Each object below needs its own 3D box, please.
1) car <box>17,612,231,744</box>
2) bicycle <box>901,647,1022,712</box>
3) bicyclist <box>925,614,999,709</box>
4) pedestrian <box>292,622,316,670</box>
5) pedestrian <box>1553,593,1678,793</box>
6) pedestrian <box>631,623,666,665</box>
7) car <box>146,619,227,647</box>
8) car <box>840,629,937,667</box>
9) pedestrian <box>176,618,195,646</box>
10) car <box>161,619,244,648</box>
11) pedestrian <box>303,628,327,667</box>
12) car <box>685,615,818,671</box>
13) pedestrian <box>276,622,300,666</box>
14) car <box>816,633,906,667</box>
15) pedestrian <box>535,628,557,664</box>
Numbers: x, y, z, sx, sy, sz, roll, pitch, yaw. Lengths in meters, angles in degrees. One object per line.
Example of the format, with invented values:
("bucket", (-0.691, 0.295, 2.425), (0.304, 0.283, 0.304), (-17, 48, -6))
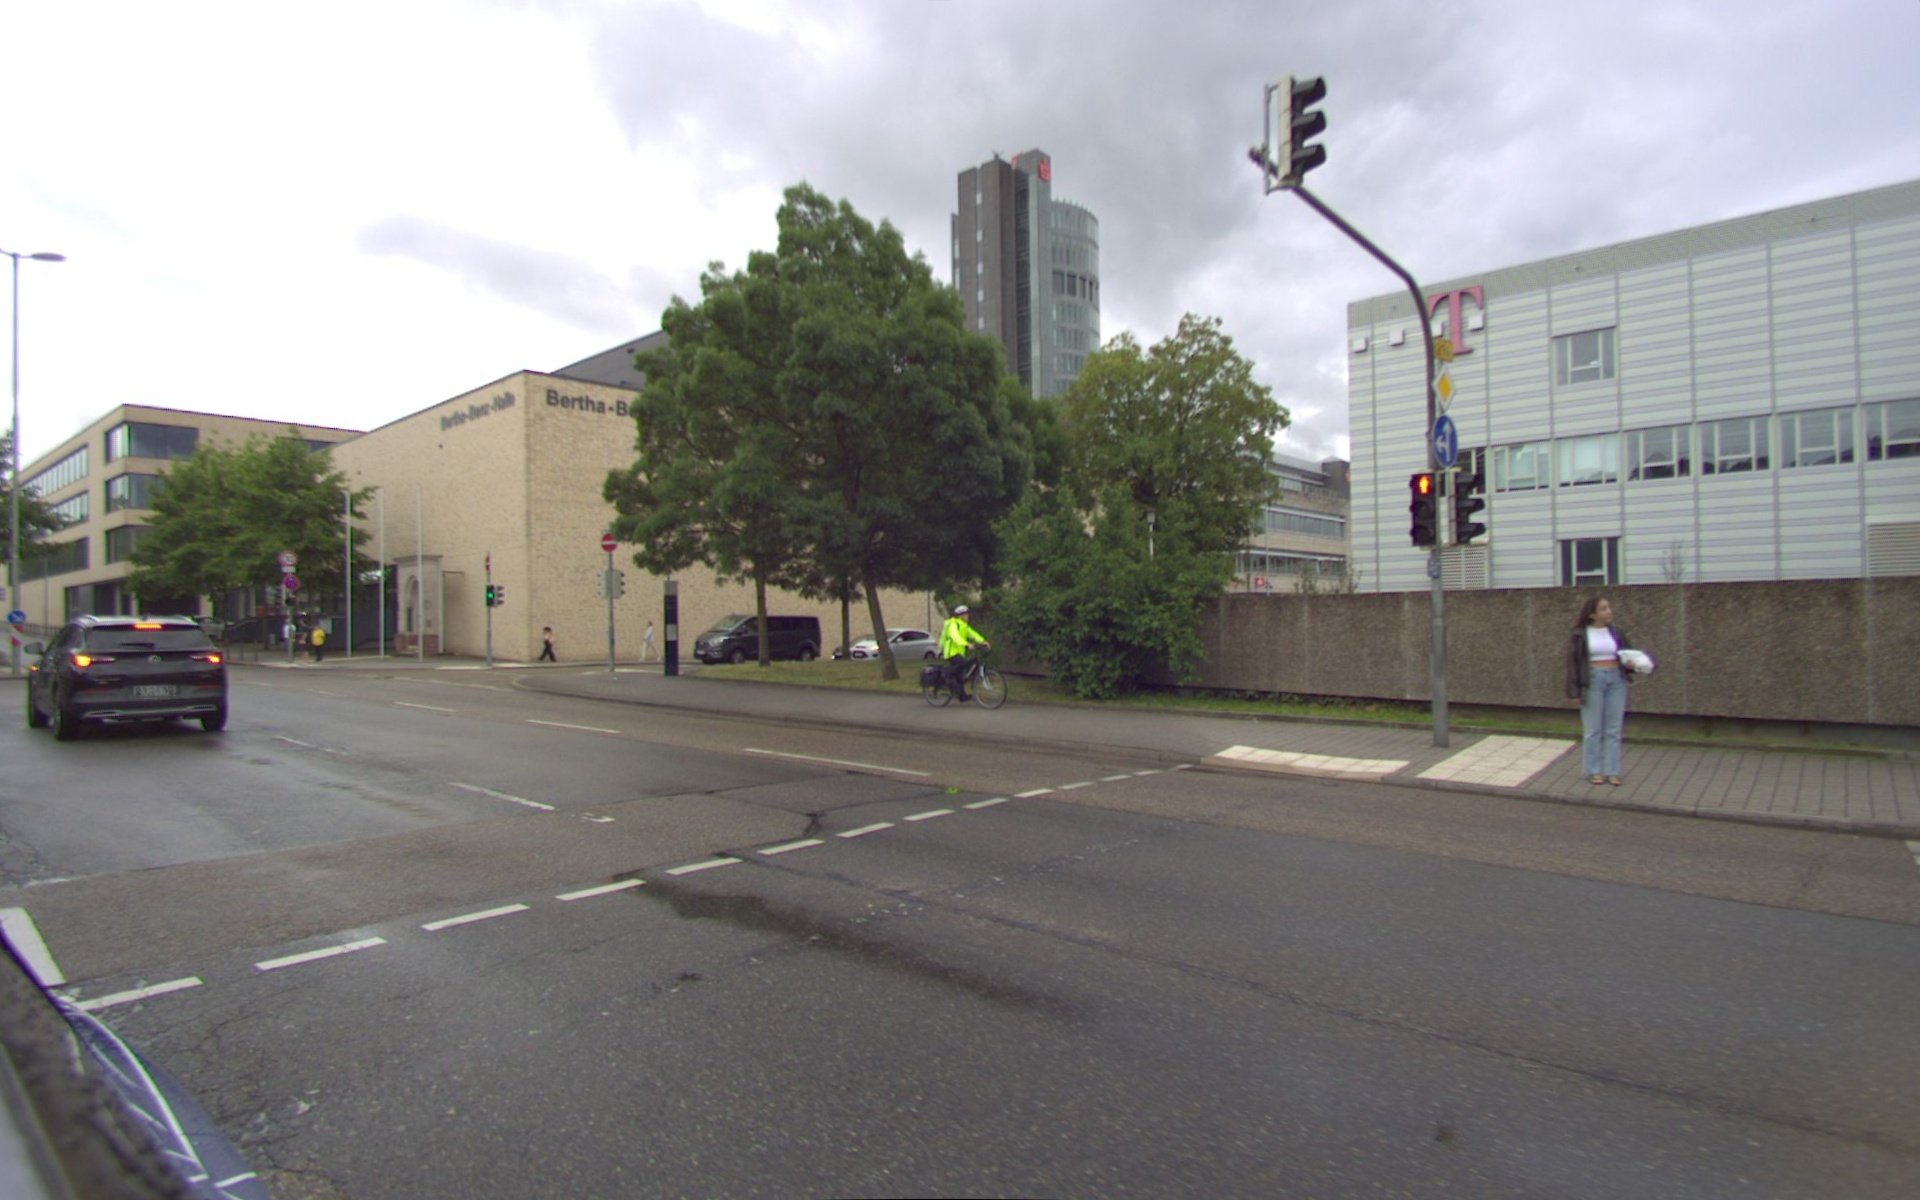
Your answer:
("car", (-12.005, 1.005, 14.434), (4.294, 1.606, 1.788), (-2, -2, 43))
("bicycle", (0.007, 1.255, 16.381), (1.867, 0.914, 0.875), (-1, 0, 44))
("bicyclist", (0.030, 0.975, 16.359), (0.812, 1.453, 0.833), (-2, 0, 43))
("pedestrian", (-25.343, 1.771, 39.087), (0.691, 1.784, 0.588), (-2, 0, 40))
("pedestrian", (5.976, 0.806, 9.223), (0.811, 1.702, 0.709), (-2, 0, 43))
("pedestrian", (-13.086, 1.828, 42.551), (0.807, 1.713, 1.099), (-2, 0, 39))
("car", (-49.987, 2.085, 65.418), (3.941, 1.597, 2.001), (-2, 0, -45))
("car", (-3.068, 2.107, 44.124), (1.999, 1.469, 3.945), (-2, -5, 41))
("pedestrian", (-46.924, 1.954, 61.315), (0.792, 1.659, 0.977), (-2, 0, -42))
("car", (-47.908, 2.098, 64.053), (3.941, 1.597, 2.001), (-2, 0, -45))
("pedestrian", (-25.895, 1.908, 40.632), (0.691, 1.528, 0.588), (-2, 0, 40))
("car", (-7.864, 1.676, 38.613), (1.998, 1.940, 4.730), (-2, -5, 38))
("pedestrian", (-27.225, 1.757, 41.013), (0.691, 1.744, 0.588), (-2, 0, 37))
("car", (-4.650, 2.368, 47.848), (1.999, 1.469, 3.945), (-2, -5, 41))
("pedestrian", (-16.337, 1.820, 39.948), (0.475, 1.386, 0.614), (-2, 0, 42))
